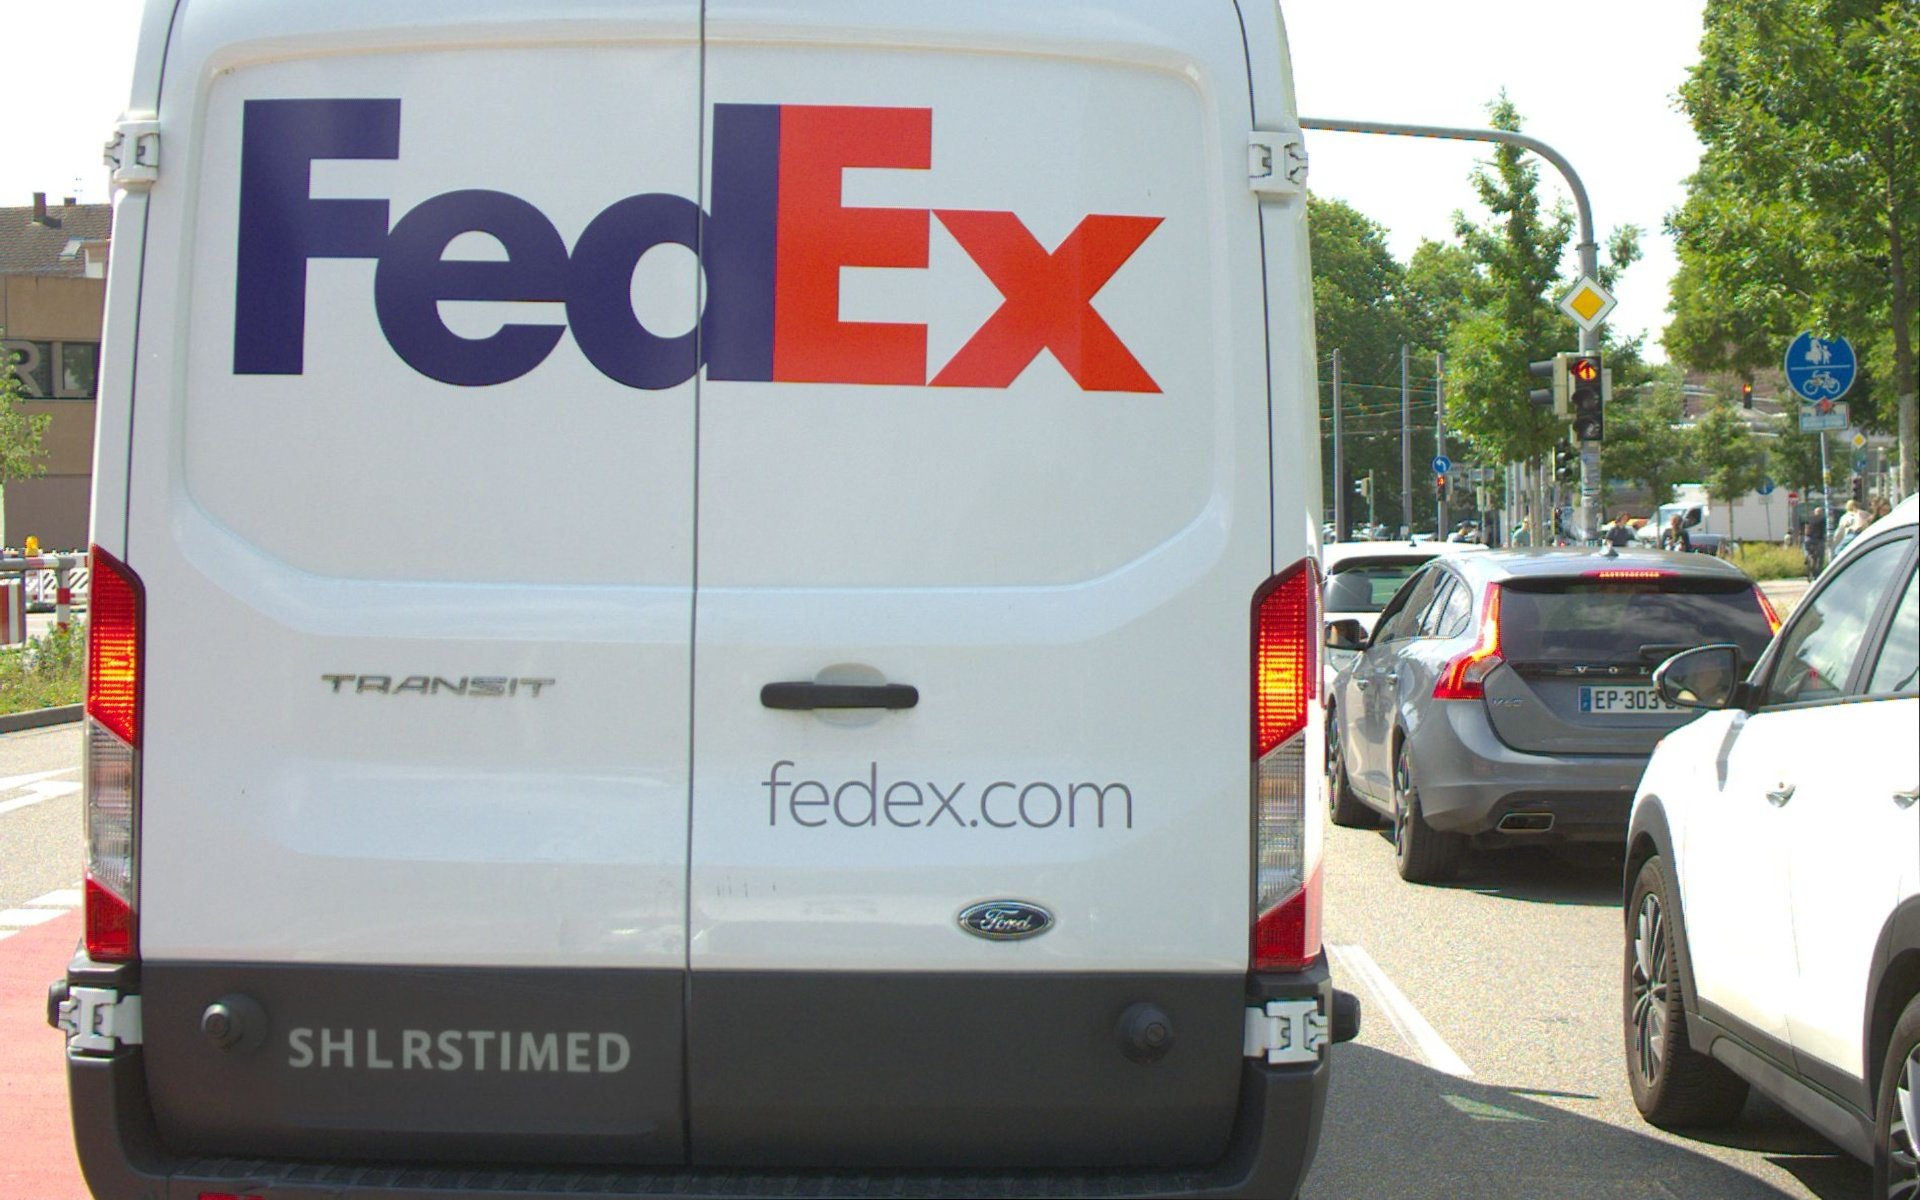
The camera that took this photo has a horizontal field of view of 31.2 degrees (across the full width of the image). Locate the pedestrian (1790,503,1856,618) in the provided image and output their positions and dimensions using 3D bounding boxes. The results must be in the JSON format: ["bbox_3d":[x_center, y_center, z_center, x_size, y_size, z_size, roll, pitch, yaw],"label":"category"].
[{"bbox_3d":[13.991,-0.649,55.724,0.758,1.843,0.816,-1,1,-10],"label":"pedestrian"}]

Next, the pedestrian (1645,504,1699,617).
[{"bbox_3d":[11.730,-0.658,56.628,0.759,1.843,0.815,0,1,18],"label":"pedestrian"}]

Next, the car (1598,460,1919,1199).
[{"bbox_3d":[2.591,0.554,7.227,1.814,1.673,3.974,0,1,1],"label":"car"}]

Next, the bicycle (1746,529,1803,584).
[{"bbox_3d":[22.724,-1.230,95.866,1.426,1.459,4.308,0,2,15],"label":"bicycle"}]

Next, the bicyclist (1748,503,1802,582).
[{"bbox_3d":[22.790,-1.608,96.104,1.433,2.164,1.338,0,1,15],"label":"bicyclist"}]

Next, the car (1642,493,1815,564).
[{"bbox_3d":[31.140,-2.877,139.254,7.061,2.708,2.496,0,1,-32],"label":"car"}]

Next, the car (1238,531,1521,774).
[{"bbox_3d":[2.708,0.286,22.775,1.499,1.459,3.474,0,1,1],"label":"car"}]

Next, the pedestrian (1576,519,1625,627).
[{"bbox_3d":[11.008,-0.470,59.058,0.759,1.843,0.816,0,1,15],"label":"pedestrian"}]

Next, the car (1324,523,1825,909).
[{"bbox_3d":[2.694,0.432,15.824,1.691,1.543,3.720,0,1,1],"label":"car"}]

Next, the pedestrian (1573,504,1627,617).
[{"bbox_3d":[10.551,-0.649,56.698,0.759,1.843,0.815,0,1,18],"label":"pedestrian"}]

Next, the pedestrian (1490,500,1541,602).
[{"bbox_3d":[10.113,-0.903,62.631,0.758,1.843,0.816,-1,1,-3],"label":"pedestrian"}]

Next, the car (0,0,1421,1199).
[{"bbox_3d":[-0.346,0.047,7.147,2.072,2.572,4.428,0,1,1],"label":"car"}]

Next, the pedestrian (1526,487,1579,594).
[{"bbox_3d":[10.322,-1.046,59.903,0.813,1.843,0.761,-1,1,3],"label":"pedestrian"}]

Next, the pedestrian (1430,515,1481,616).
[{"bbox_3d":[9.138,-0.638,63.455,0.758,1.843,0.816,-1,1,-4],"label":"pedestrian"}]

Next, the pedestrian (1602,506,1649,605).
[{"bbox_3d":[12.495,-0.844,64.565,0.759,1.843,0.816,-1,1,3],"label":"pedestrian"}]

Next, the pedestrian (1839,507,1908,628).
[{"bbox_3d":[12.680,-0.457,47.729,0.759,1.649,0.816,-1,1,3],"label":"pedestrian"}]
